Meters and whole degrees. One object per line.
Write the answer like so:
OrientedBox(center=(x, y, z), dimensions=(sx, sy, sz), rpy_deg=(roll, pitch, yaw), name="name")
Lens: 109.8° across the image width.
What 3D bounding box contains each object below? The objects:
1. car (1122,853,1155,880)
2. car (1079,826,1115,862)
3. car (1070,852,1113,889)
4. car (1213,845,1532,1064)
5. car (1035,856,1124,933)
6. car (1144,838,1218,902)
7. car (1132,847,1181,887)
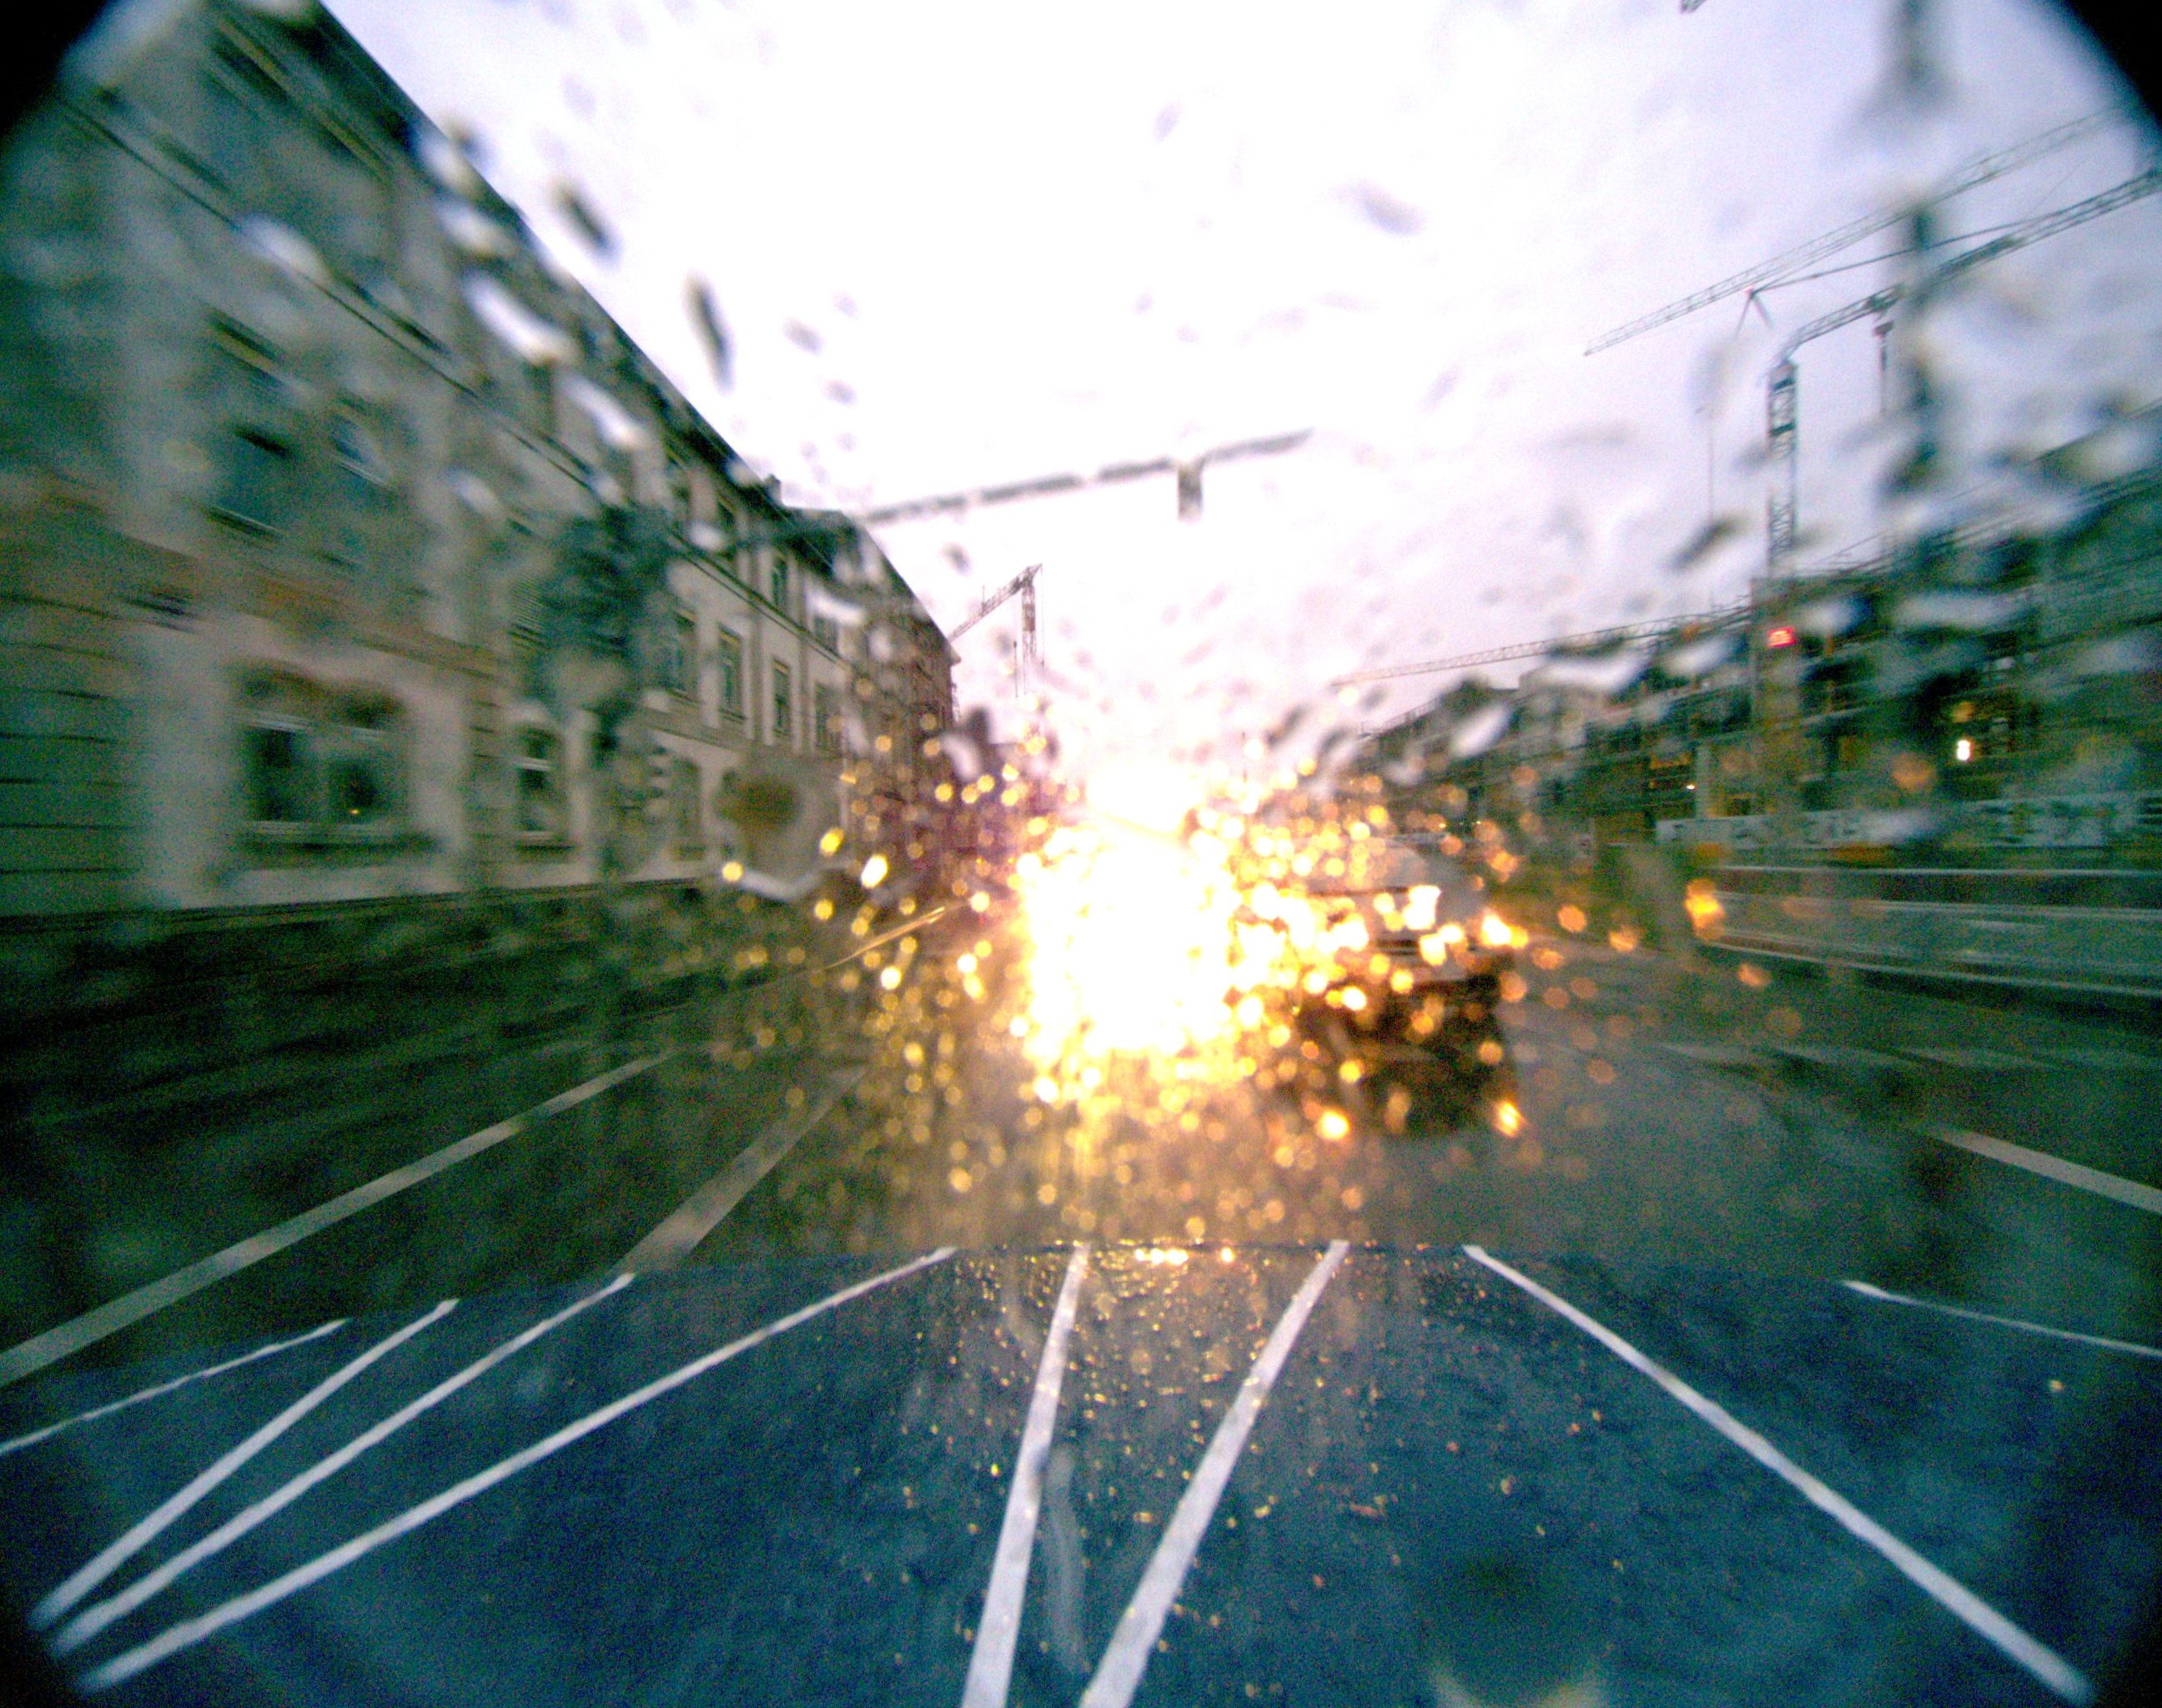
OrientedBox(center=(3.684, 0.748, 49.323), dimensions=(1.844, 1.547, 3.999), rpy_deg=(-3, 1, 1), name="car")
OrientedBox(center=(0.846, -0.579, 43.573), dimensions=(1.858, 1.886, 3.999), rpy_deg=(-3, 1, -1), name="car")
OrientedBox(center=(0.425, 0.683, 33.849), dimensions=(1.764, 1.443, 3.999), rpy_deg=(-3, 1, -1), name="car")
OrientedBox(center=(2.571, 0.745, 7.790), dimensions=(1.764, 1.584, 4.000), rpy_deg=(-3, 1, 1), name="car")
OrientedBox(center=(-0.056, 0.832, 17.620), dimensions=(1.764, 1.443, 3.999), rpy_deg=(-3, 1, -1), name="car")
OrientedBox(center=(2.993, 0.421, 23.544), dimensions=(1.857, 1.723, 4.000), rpy_deg=(-3, 1, 3), name="car")
OrientedBox(center=(3.491, 0.561, 35.950), dimensions=(1.844, 1.644, 4.323), rpy_deg=(-3, 1, 0), name="car")
